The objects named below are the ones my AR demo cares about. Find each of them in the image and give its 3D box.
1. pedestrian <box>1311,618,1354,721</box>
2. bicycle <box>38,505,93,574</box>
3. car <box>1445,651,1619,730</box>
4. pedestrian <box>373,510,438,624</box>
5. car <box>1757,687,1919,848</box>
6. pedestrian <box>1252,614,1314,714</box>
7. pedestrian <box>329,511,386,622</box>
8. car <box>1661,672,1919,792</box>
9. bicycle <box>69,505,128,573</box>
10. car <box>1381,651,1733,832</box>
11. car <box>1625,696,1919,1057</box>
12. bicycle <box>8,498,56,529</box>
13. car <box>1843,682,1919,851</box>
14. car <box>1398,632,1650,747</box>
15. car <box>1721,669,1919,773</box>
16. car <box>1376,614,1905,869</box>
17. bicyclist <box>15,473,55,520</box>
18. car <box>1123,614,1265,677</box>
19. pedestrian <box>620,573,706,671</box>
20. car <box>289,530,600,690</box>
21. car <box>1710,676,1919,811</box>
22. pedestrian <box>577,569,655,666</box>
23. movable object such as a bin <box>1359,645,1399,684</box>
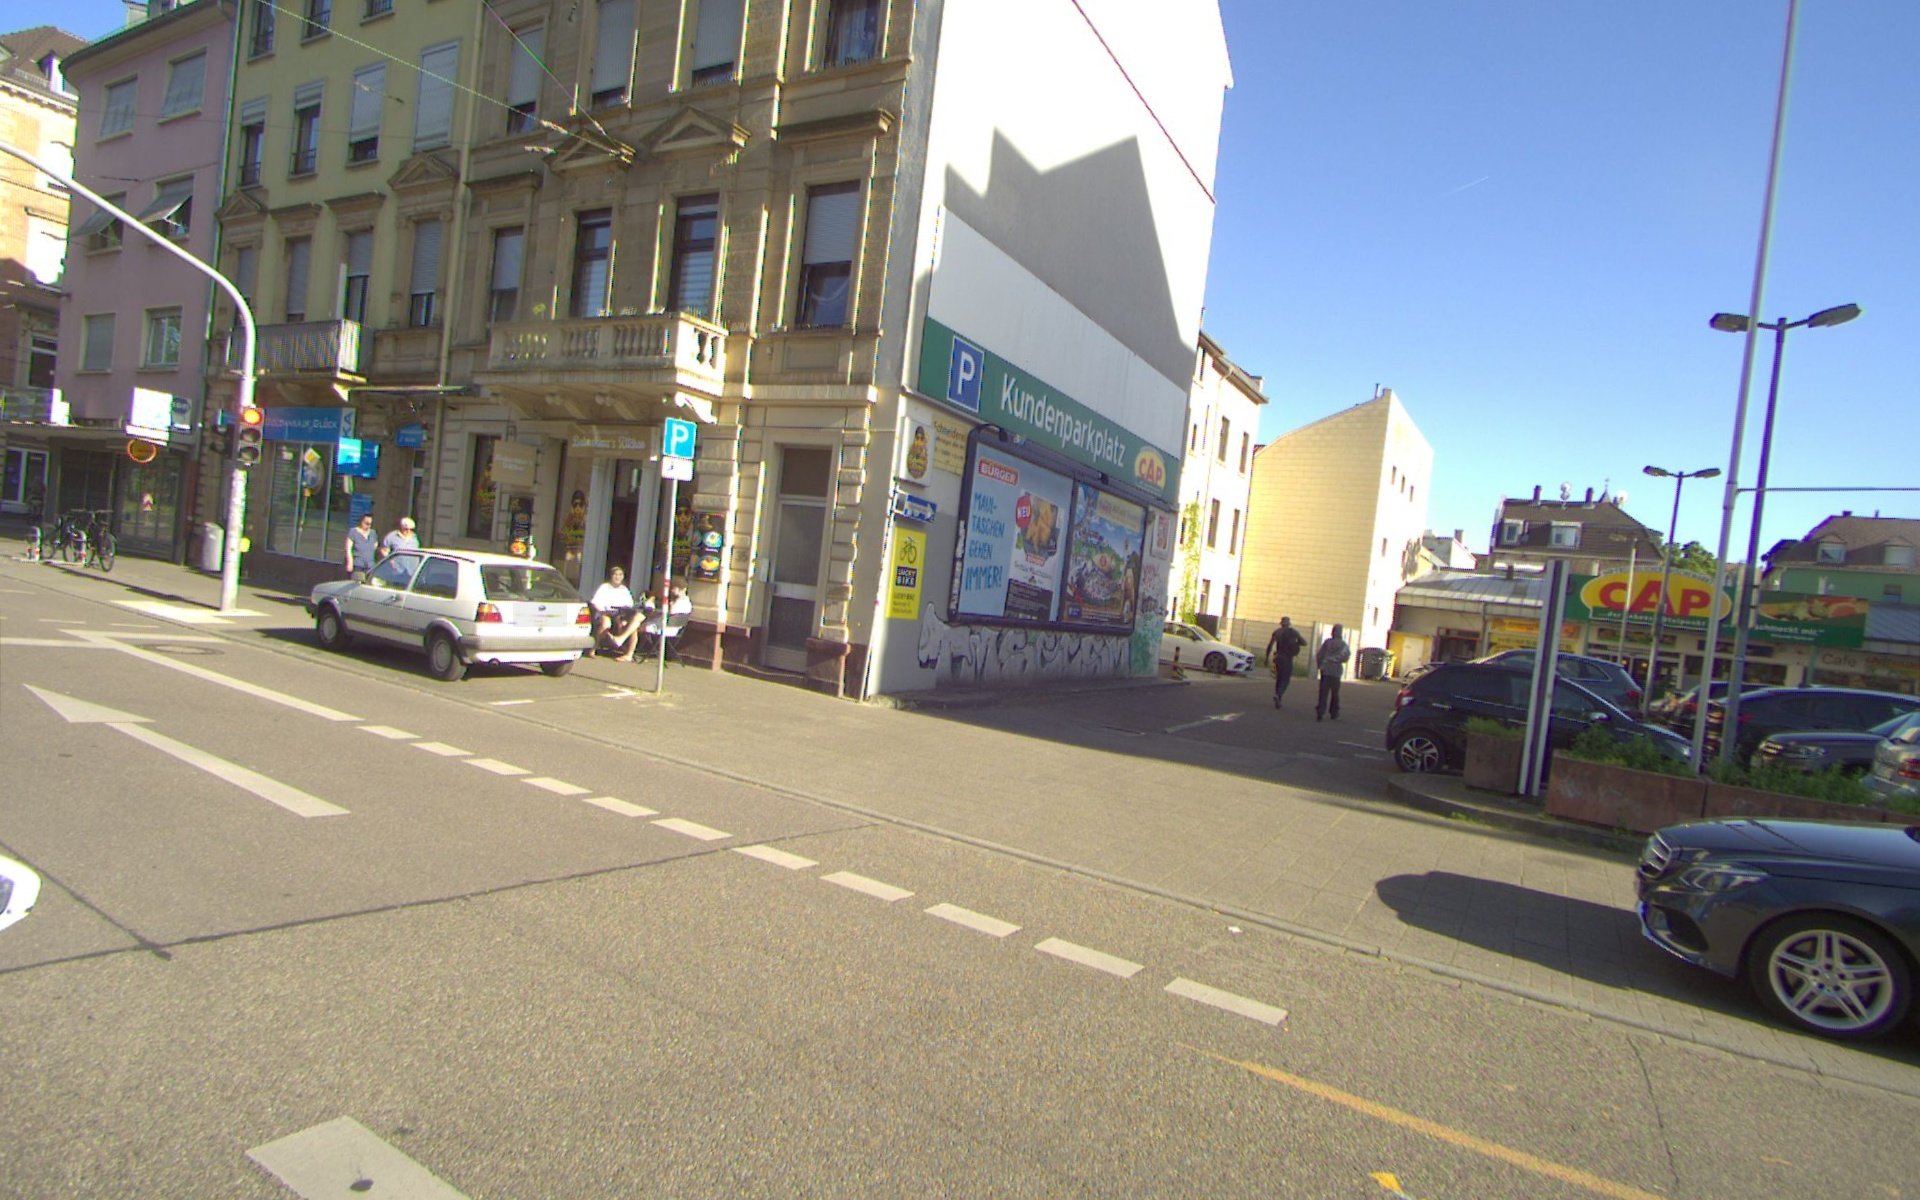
[{"bbox_3d":[6.739,1.249,18.219,0.504,1.778,0.762,7,1,19],"label":"pedestrian"},{"bbox_3d":[-17.236,-1.179,19.373,1.782,1.155,0.414,7,1,38],"label":"bicycle"},{"bbox_3d":[15.796,2.473,27.925,3.933,1.538,1.723,7,1,32],"label":"car"},{"bbox_3d":[-9.336,-0.541,16.935,0.522,1.830,0.673,8,3,31],"label":"pedestrian"},{"bbox_3d":[12.638,2.245,12.457,3.931,1.715,1.747,7,1,29],"label":"car"},{"bbox_3d":[6.371,1.260,19.843,0.737,1.864,0.759,8,2,38],"label":"pedestrian"},{"bbox_3d":[-9.869,-0.541,16.478,0.382,1.730,0.550,8,2,34],"label":"pedestrian"},{"bbox_3d":[15.701,2.419,18.912,3.872,1.564,1.543,7,1,31],"label":"car"},{"bbox_3d":[-16.965,-1.202,19.796,1.731,1.173,0.448,8,1,38],"label":"bicycle"},{"bbox_3d":[7.077,1.599,12.252,3.336,1.504,1.561,7,1,28],"label":"car"},{"bbox_3d":[6.261,1.652,5.078,4.656,1.507,1.832,7,3,32],"label":"car"},{"bbox_3d":[-32.377,-3.015,35.113,0.644,0.914,1.333,7,0,-16],"label":"bicycle"},{"bbox_3d":[11.727,1.943,10.021,3.930,1.665,1.748,7,0,28],"label":"car"},{"bbox_3d":[11.794,1.814,21.242,4.309,1.687,1.756,7,1,32],"label":"car"},{"bbox_3d":[18.266,2.498,20.665,3.872,1.601,1.658,7,1,31],"label":"car"},{"bbox_3d":[6.316,1.209,9.871,3.835,1.666,1.652,7,2,28],"label":"car"},{"bbox_3d":[-32.316,-3.597,35.160,0.540,1.521,0.957,6,1,-17],"label":"bicyclist"},{"bbox_3d":[7.432,1.437,32.096,3.933,1.482,1.756,7,1,32],"label":"car"},{"bbox_3d":[-4.241,0.314,14.417,0.644,1.299,0.902,7,3,27],"label":"pedestrian"},{"bbox_3d":[-6.417,0.043,12.399,3.937,1.435,1.562,7,4,32],"label":"car"},{"bbox_3d":[13.619,2.177,14.755,3.871,1.564,1.544,7,1,30],"label":"car"},{"bbox_3d":[-4.946,0.246,14.465,0.598,1.299,0.797,7,4,29],"label":"pedestrian"},{"bbox_3d":[18.035,2.771,43.267,1.258,1.527,1.174,7,1,31],"label":"movable object such as a bin"}]
